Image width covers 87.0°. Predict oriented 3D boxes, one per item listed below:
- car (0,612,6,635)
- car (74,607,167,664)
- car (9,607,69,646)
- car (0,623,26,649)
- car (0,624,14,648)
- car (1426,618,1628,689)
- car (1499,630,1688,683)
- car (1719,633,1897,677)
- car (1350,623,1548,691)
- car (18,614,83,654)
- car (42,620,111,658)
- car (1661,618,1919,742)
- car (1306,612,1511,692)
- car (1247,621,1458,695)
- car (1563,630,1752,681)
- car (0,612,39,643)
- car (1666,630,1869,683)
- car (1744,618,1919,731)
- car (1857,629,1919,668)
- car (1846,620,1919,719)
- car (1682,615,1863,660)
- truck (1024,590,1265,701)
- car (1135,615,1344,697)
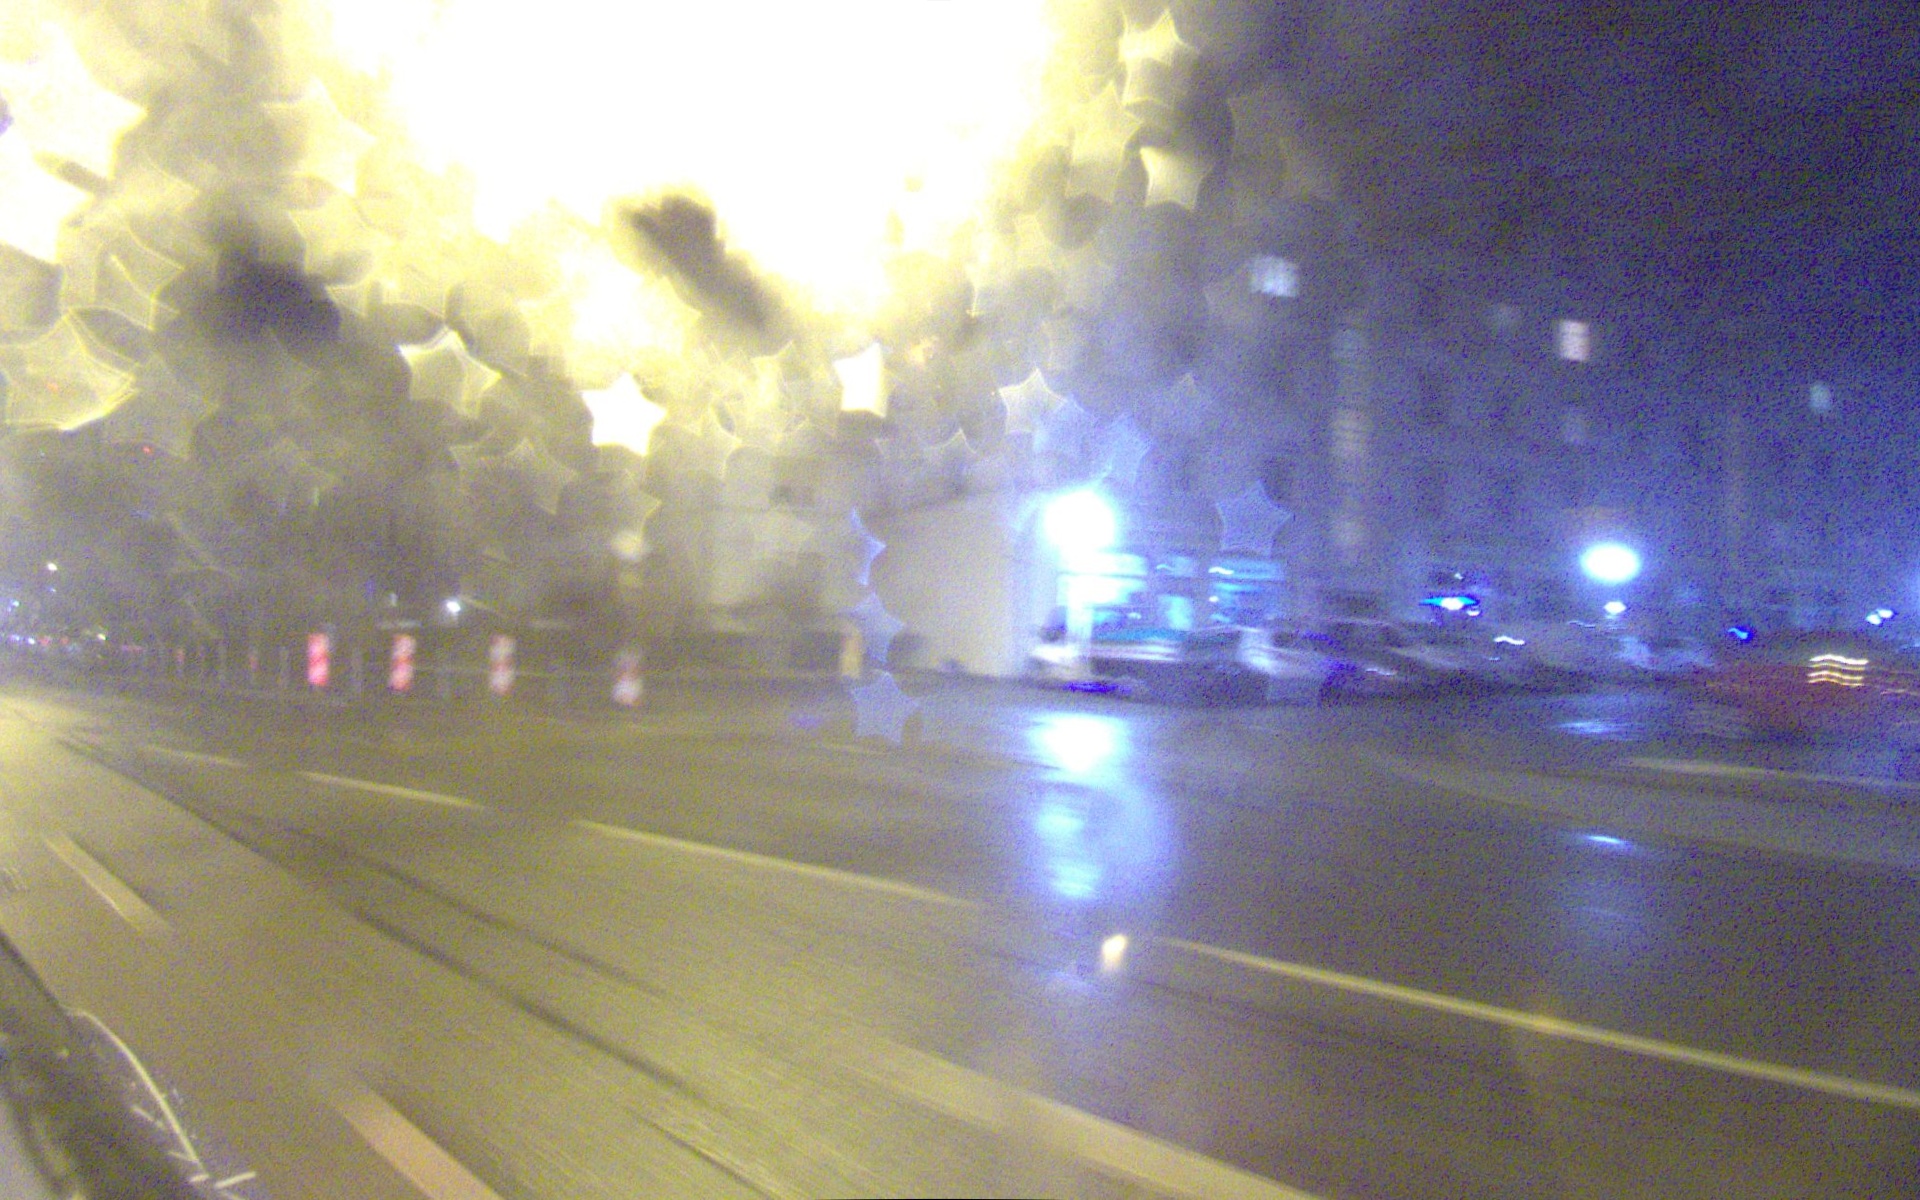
[{"bbox_3d":[-69.426,1.671,72.240,4.391,1.551,1.647,-1,-2,44],"label":"car"},{"bbox_3d":[-25.720,1.070,30.945,4.380,1.576,1.580,-1,-5,44],"label":"car"},{"bbox_3d":[-41.540,1.213,45.618,4.259,1.617,1.580,-1,-5,44],"label":"car"},{"bbox_3d":[-55.473,2.067,58.861,3.375,1.471,1.415,-1,-5,45],"label":"car"},{"bbox_3d":[-65.241,2.377,68.258,4.389,1.551,1.648,-1,-5,42],"label":"car"},{"bbox_3d":[15.312,1.403,27.621,1.838,1.774,4.508,1,-2,-29],"label":"car"},{"bbox_3d":[19.054,1.643,30.676,1.838,1.454,4.508,1,-2,-29],"label":"car"},{"bbox_3d":[30.273,1.920,36.297,1.838,1.454,4.508,1,-2,-29],"label":"car"},{"bbox_3d":[12.881,1.447,26.981,1.838,1.625,4.508,1,-2,-29],"label":"car"},{"bbox_3d":[-37.780,1.404,42.019,4.275,1.498,1.580,-1,-5,44],"label":"car"},{"bbox_3d":[-33.313,1.452,38.122,4.068,1.384,1.580,-2,-3,44],"label":"car"},{"bbox_3d":[11.525,0.960,12.886,1.689,1.442,3.931,1,-2,-28],"label":"car"},{"bbox_3d":[11.080,1.238,25.375,1.838,1.808,4.508,1,-2,-29],"label":"car"},{"bbox_3d":[9.065,1.292,23.798,1.838,1.552,4.508,1,-2,-29],"label":"car"},{"bbox_3d":[21.655,1.673,31.624,1.838,1.454,4.508,1,-2,-29],"label":"car"},{"bbox_3d":[-51.661,1.462,55.447,3.373,1.632,1.458,-1,-1,42],"label":"car"},{"bbox_3d":[24.683,1.679,31.144,1.838,1.454,4.508,1,-2,-29],"label":"car"},{"bbox_3d":[13.684,1.024,14.149,1.689,1.532,3.931,1,-2,-28],"label":"car"},{"bbox_3d":[37.094,1.843,38.150,1.838,1.454,4.508,1,-2,-29],"label":"car"},{"bbox_3d":[16.144,1.075,15.178,1.689,1.532,3.931,1,-2,-28],"label":"car"},{"bbox_3d":[28.096,1.286,35.163,1.838,1.454,4.508,1,-2,-29],"label":"car"},{"bbox_3d":[3.645,0.941,21.228,2.093,2.029,5.278,1,-3,-29],"label":"truck"},{"bbox_3d":[6.017,1.165,22.350,1.838,1.625,4.508,1,-2,-29],"label":"car"}]
